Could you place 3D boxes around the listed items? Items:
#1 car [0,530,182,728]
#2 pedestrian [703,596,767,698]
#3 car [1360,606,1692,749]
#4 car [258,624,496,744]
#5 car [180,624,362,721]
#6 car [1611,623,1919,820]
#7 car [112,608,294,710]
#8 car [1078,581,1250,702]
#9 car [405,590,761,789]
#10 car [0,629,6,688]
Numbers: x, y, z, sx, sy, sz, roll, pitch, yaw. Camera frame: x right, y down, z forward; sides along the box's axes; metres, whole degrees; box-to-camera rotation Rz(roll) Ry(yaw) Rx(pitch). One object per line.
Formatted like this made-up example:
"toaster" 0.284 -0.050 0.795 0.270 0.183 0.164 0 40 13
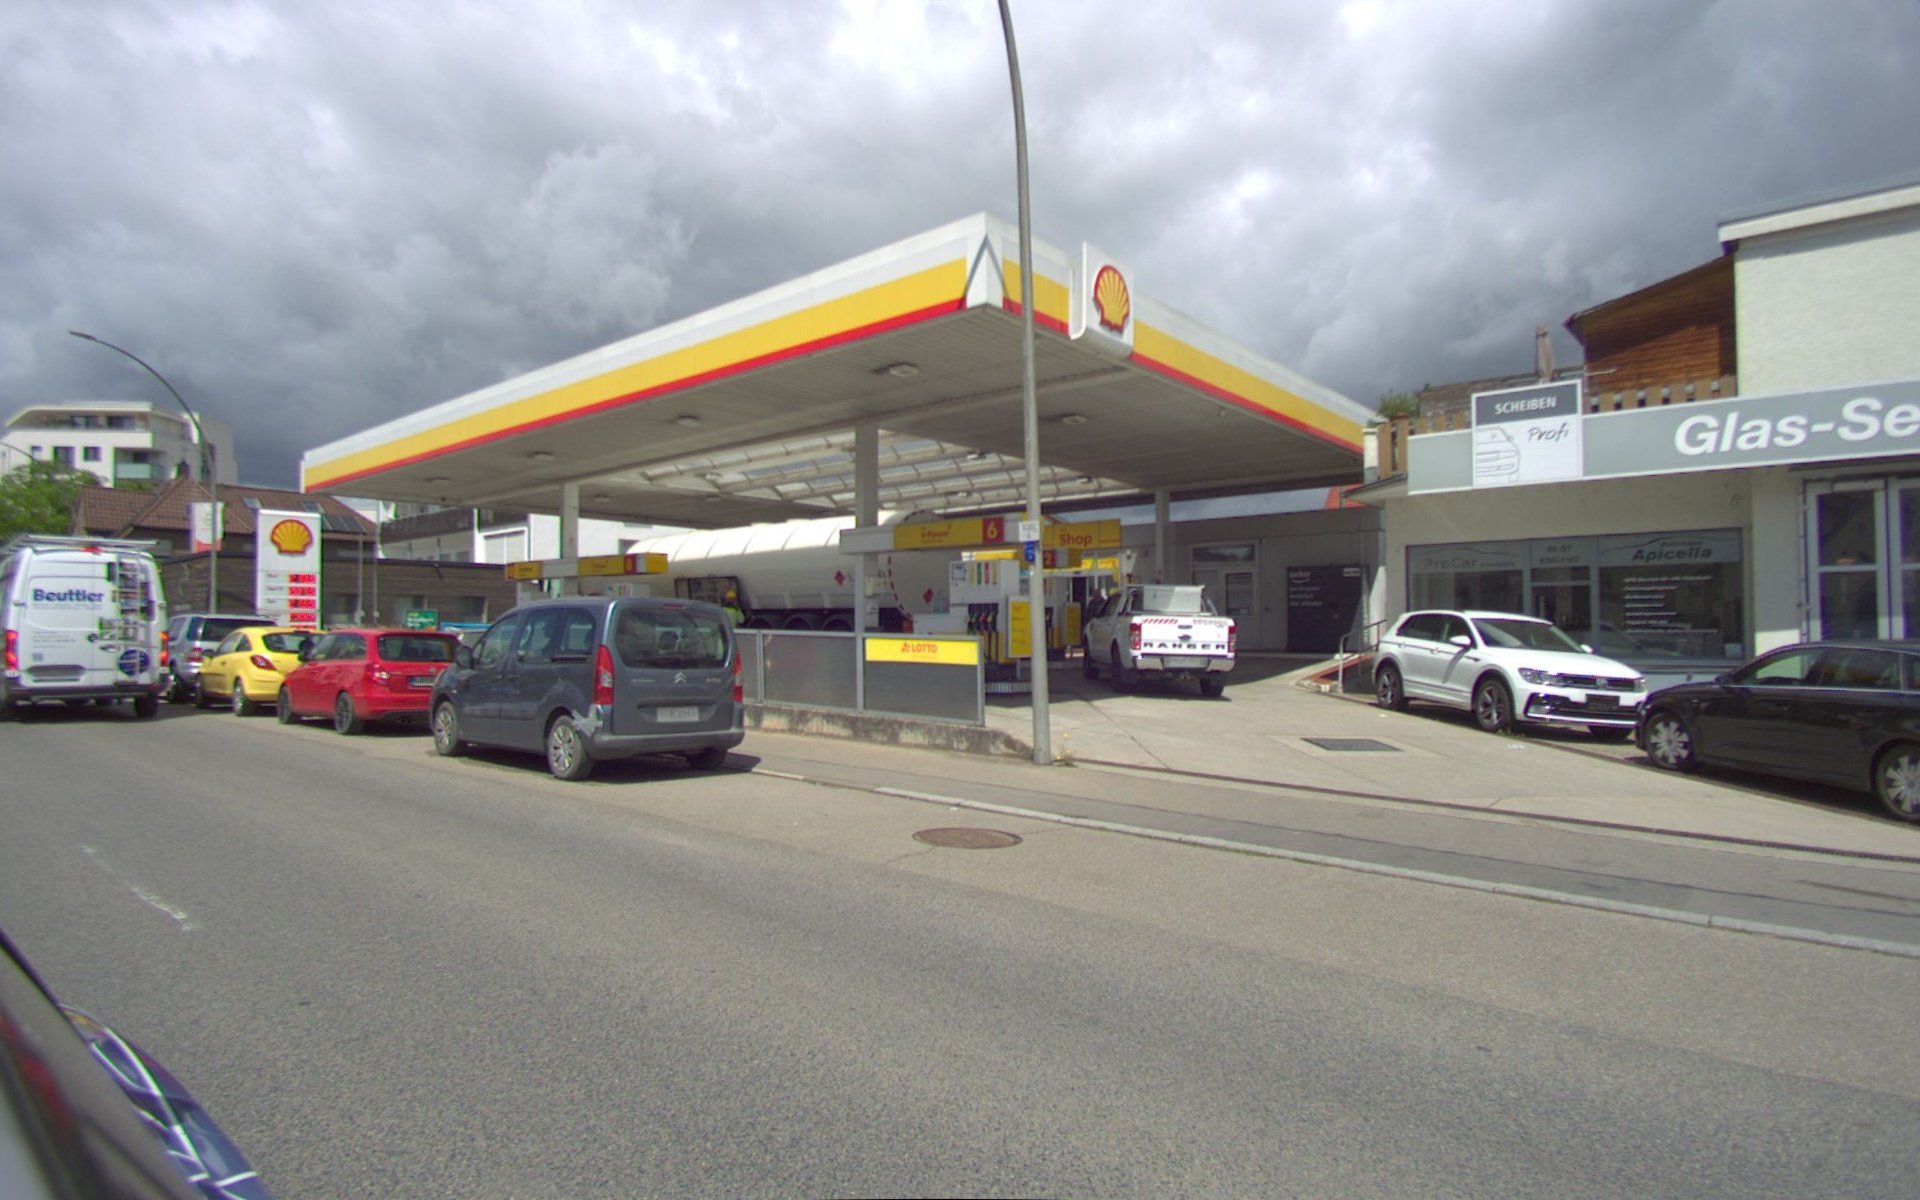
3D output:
"car" -15.111 0.506 16.954 6.160 2.787 1.972 -1 -4 41
"pedestrian" -5.032 1.024 22.619 1.011 2.195 0.928 -1 0 39
"car" 7.782 0.984 14.536 1.946 1.623 4.417 4 -1 -5
"car" -8.670 1.178 14.910 4.187 1.526 1.645 -1 -6 41
"car" -12.260 1.251 17.922 3.943 1.526 1.645 -2 -6 41
"car" 8.133 0.961 8.940 1.771 1.501 4.340 0 -2 -3
"car" -15.571 1.190 20.753 4.310 1.882 1.767 -1 -6 38
"car" 3.466 0.696 18.211 1.947 1.866 4.984 0 -1 -1
"car" -4.190 0.891 10.942 4.187 1.751 1.711 -1 -6 41
"car" -26.183 1.480 26.108 3.978 1.485 1.828 -1 -3 40
